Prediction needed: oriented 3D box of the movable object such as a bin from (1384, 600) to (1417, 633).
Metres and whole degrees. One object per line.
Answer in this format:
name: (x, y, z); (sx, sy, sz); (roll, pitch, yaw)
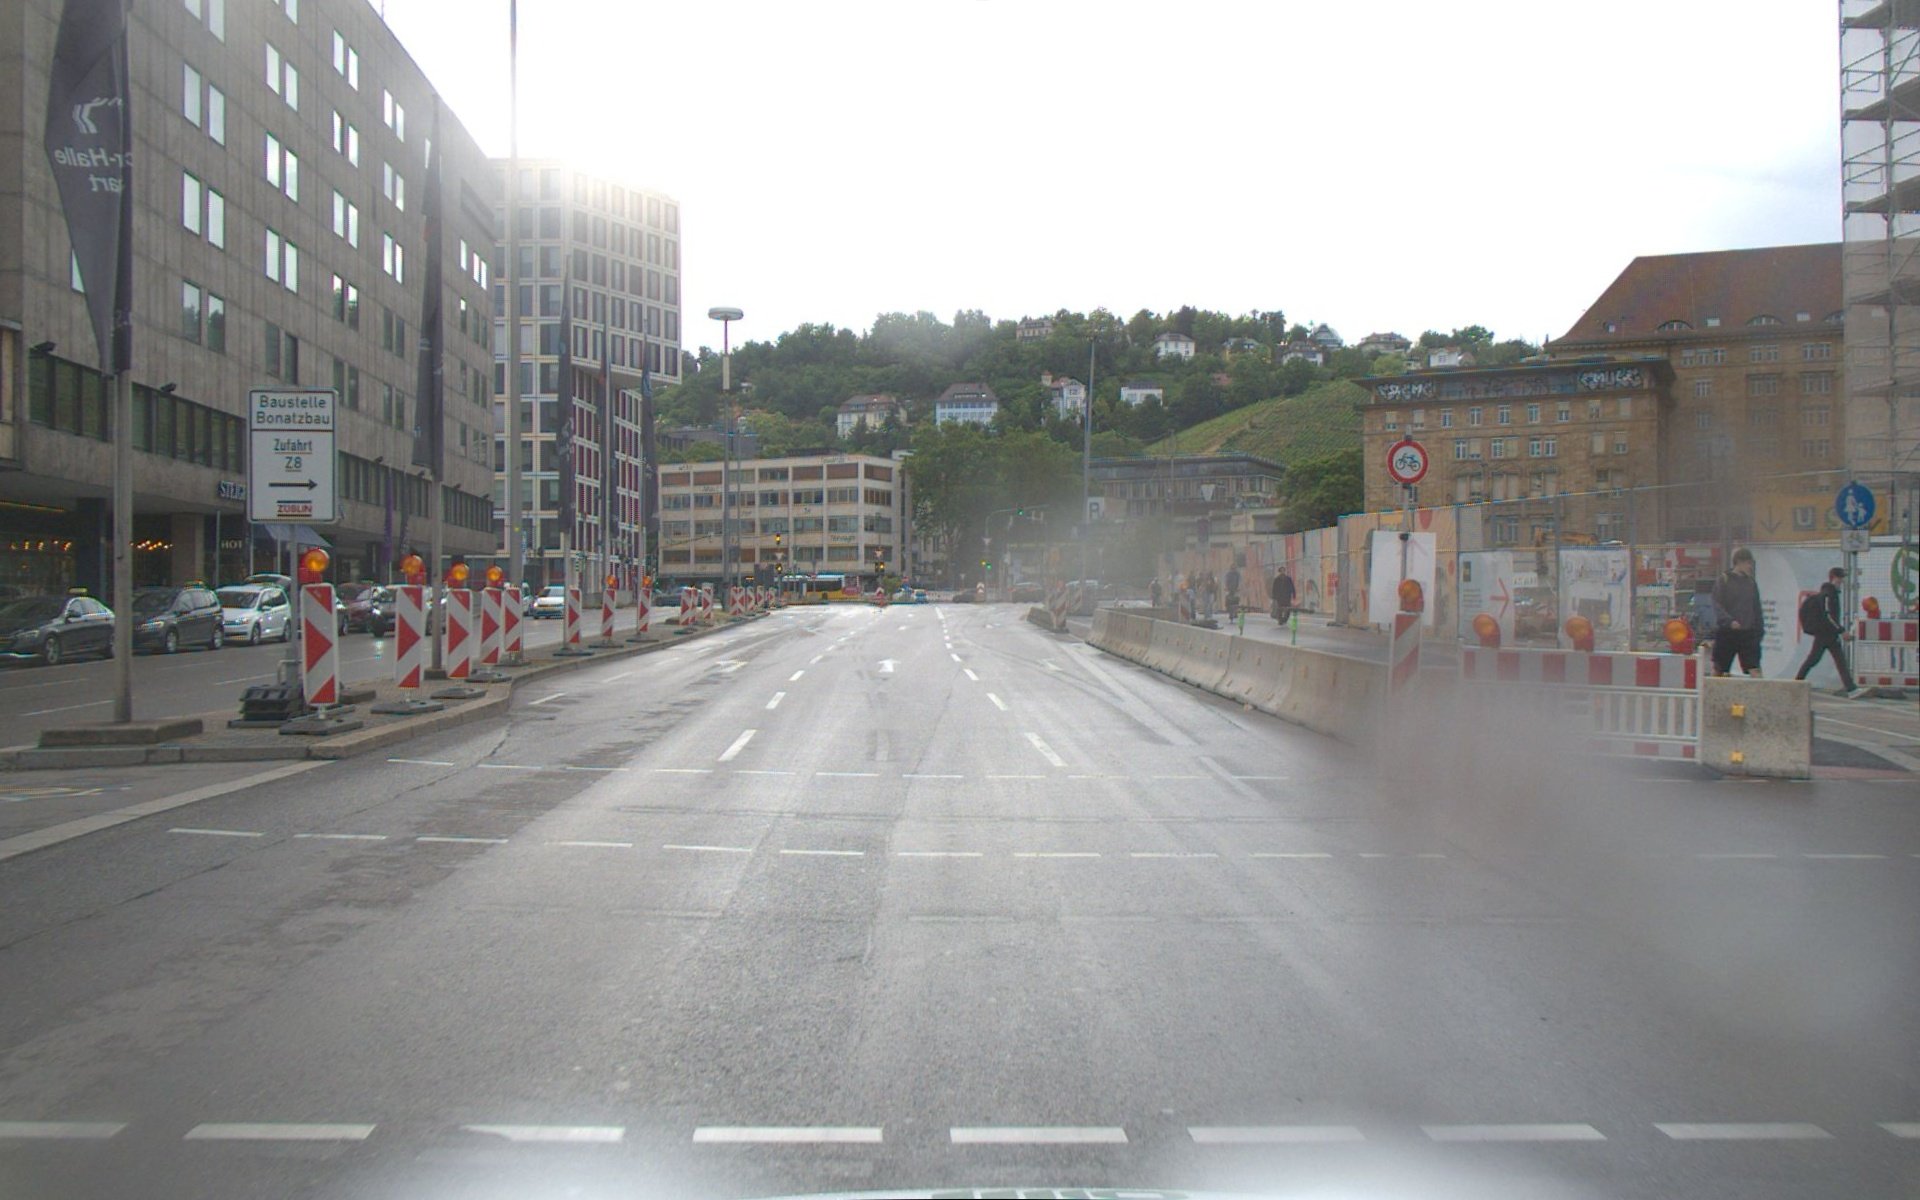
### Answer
movable object such as a bin: (10.206, 0.381, 38.337); (0.584, 0.747, 0.778); (-1, 1, 1)

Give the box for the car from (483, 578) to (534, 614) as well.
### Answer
car: (-23.453, -0.225, 86.058); (1.739, 1.793, 4.368); (-1, 1, -4)

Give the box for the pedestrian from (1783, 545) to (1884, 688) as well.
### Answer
pedestrian: (11.782, 0.210, 22.324); (0.665, 1.881, 0.996); (-1, 0, -23)

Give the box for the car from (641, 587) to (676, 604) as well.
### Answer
car: (-34.102, -0.531, 186.806); (3.925, 1.847, 1.797); (0, 1, 39)

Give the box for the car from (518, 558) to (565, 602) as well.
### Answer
car: (-23.328, -1.098, 92.247); (1.739, 2.368, 4.368); (-1, 1, -4)

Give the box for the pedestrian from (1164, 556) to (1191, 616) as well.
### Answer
pedestrian: (7.461, -0.485, 56.758); (0.786, 2.051, 0.972); (-1, 1, 1)

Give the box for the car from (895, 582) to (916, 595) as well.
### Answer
car: (-6.116, -1.293, 185.489); (1.699, 1.518, 4.066); (-1, 1, -12)

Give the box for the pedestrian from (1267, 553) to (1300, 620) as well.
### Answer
pedestrian: (9.323, -0.391, 47.689); (0.831, 1.928, 0.662); (-1, 0, 0)

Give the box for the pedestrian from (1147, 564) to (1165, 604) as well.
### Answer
pedestrian: (8.679, -0.707, 73.268); (0.629, 1.771, 0.837); (-1, 1, -1)

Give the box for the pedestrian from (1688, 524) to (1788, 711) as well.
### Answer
pedestrian: (8.835, 0.182, 18.821); (0.770, 2.046, 0.866); (-1, 3, 5)

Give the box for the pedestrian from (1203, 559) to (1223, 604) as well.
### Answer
pedestrian: (10.810, -0.782, 70.591); (0.689, 1.898, 0.990); (-1, 1, 0)

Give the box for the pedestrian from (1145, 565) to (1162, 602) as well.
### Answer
pedestrian: (9.203, -0.781, 78.812); (0.669, 1.771, 0.907); (-1, 1, -2)

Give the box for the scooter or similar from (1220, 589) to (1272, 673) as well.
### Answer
scooter or similar: (4.715, 0.503, 27.336); (0.515, 1.356, 1.022); (-1, 0, -11)

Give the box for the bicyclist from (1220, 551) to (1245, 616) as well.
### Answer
bicyclist: (8.713, -0.537, 52.872); (0.711, 2.049, 0.599); (-1, 0, 1)

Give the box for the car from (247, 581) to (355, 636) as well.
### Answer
car: (-21.254, 0.237, 53.541); (1.865, 1.688, 4.613); (-1, 1, -4)

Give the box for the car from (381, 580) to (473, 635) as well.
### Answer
car: (-17.662, 0.220, 55.025); (1.739, 1.698, 4.498); (-2, 1, -3)

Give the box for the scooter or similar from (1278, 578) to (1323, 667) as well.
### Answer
scooter or similar: (5.304, 0.340, 25.736); (0.482, 1.356, 1.025); (0, 0, 23)

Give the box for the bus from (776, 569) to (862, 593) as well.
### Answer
bus: (-17.243, -2.316, 200.526); (3.181, 2.798, 13.776); (-1, 1, -39)

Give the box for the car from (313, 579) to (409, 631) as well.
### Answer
car: (-21.503, 0.152, 59.521); (1.863, 1.798, 4.645); (-1, 0, -2)

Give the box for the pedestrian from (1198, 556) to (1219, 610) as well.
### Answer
pedestrian: (9.006, -0.619, 59.951); (0.669, 1.922, 0.693); (-1, 1, 1)

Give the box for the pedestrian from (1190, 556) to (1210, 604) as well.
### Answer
pedestrian: (9.658, -0.808, 66.689); (0.670, 1.922, 0.693); (-1, 1, -2)

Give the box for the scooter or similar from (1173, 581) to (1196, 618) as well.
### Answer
scooter or similar: (7.555, -0.029, 55.643); (0.651, 1.219, 1.044); (-1, 1, 1)

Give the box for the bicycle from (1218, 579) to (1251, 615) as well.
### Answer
bicycle: (8.745, -0.100, 52.736); (0.750, 1.131, 1.981); (-1, 1, 1)

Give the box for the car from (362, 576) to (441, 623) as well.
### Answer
car: (-21.845, -0.042, 64.887); (1.780, 1.727, 4.574); (-1, 0, -4)

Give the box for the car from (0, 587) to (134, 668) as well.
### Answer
car: (-20.104, 0.561, 36.532); (1.720, 1.649, 4.560); (-1, 0, -5)

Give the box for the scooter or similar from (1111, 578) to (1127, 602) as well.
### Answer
scooter or similar: (8.116, -0.529, 84.366); (0.459, 1.204, 1.412); (-1, 1, -9)

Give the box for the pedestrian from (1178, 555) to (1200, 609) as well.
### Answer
pedestrian: (8.299, -0.655, 59.964); (0.669, 1.922, 0.693); (-1, 1, 1)

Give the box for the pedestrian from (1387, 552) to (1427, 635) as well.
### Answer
pedestrian: (10.429, -0.155, 38.638); (0.751, 1.928, 0.654); (-1, 0, 1)

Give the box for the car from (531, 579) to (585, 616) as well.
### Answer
car: (-19.375, -0.156, 79.846); (1.788, 1.698, 4.496); (-1, 1, -4)

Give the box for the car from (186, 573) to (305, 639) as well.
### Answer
car: (-20.729, 0.143, 48.206); (1.720, 1.788, 4.707); (-1, 0, -5)

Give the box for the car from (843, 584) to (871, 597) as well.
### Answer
car: (-12.418, -1.131, 199.375); (1.714, 1.518, 4.031); (-1, 1, -33)

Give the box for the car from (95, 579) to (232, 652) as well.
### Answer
car: (-20.262, 0.340, 42.260); (1.720, 1.710, 4.225); (-1, 1, -5)
